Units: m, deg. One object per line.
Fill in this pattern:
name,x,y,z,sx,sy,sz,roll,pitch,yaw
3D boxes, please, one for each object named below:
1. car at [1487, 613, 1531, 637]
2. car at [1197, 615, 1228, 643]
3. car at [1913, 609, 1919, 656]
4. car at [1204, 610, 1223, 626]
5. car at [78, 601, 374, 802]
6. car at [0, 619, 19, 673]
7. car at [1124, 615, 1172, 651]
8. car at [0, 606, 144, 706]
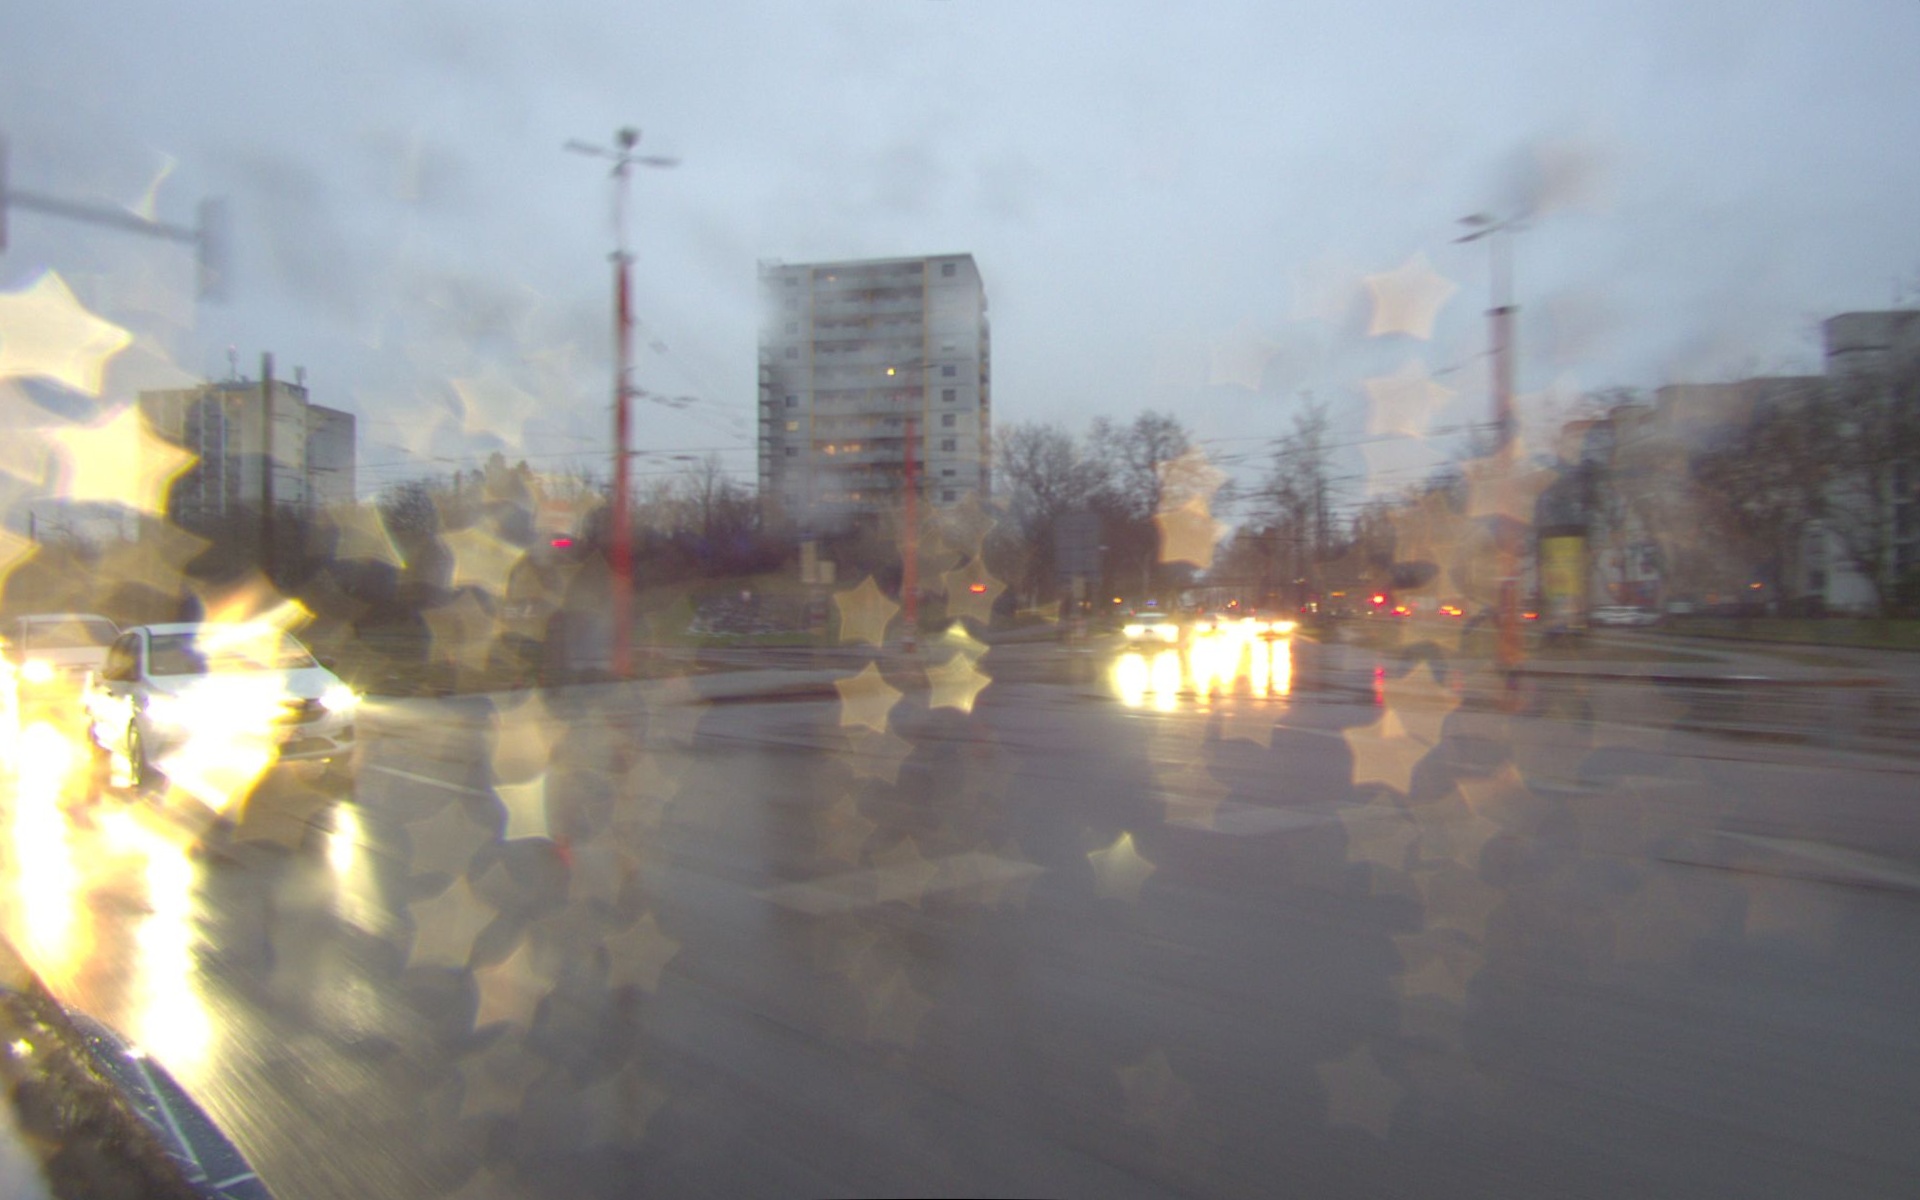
car,39.936,1.794,73.718,1.519,1.652,3.989,-1,-1,8
car,14.802,1.679,59.205,1.697,1.556,3.980,-1,-1,15
car,32.468,1.009,30.946,1.967,1.541,4.494,0,-1,-10
car,24.915,1.782,99.457,1.697,1.556,3.961,-1,-1,15
car,-7.669,0.878,10.419,4.147,1.660,1.695,-1,-1,43
car,-30.266,1.391,30.838,4.122,1.612,1.927,-1,-1,41
car,8.662,1.499,46.388,1.834,1.556,4.419,-1,-1,15
car,-16.095,0.922,18.109,4.189,1.551,1.672,-1,0,42
